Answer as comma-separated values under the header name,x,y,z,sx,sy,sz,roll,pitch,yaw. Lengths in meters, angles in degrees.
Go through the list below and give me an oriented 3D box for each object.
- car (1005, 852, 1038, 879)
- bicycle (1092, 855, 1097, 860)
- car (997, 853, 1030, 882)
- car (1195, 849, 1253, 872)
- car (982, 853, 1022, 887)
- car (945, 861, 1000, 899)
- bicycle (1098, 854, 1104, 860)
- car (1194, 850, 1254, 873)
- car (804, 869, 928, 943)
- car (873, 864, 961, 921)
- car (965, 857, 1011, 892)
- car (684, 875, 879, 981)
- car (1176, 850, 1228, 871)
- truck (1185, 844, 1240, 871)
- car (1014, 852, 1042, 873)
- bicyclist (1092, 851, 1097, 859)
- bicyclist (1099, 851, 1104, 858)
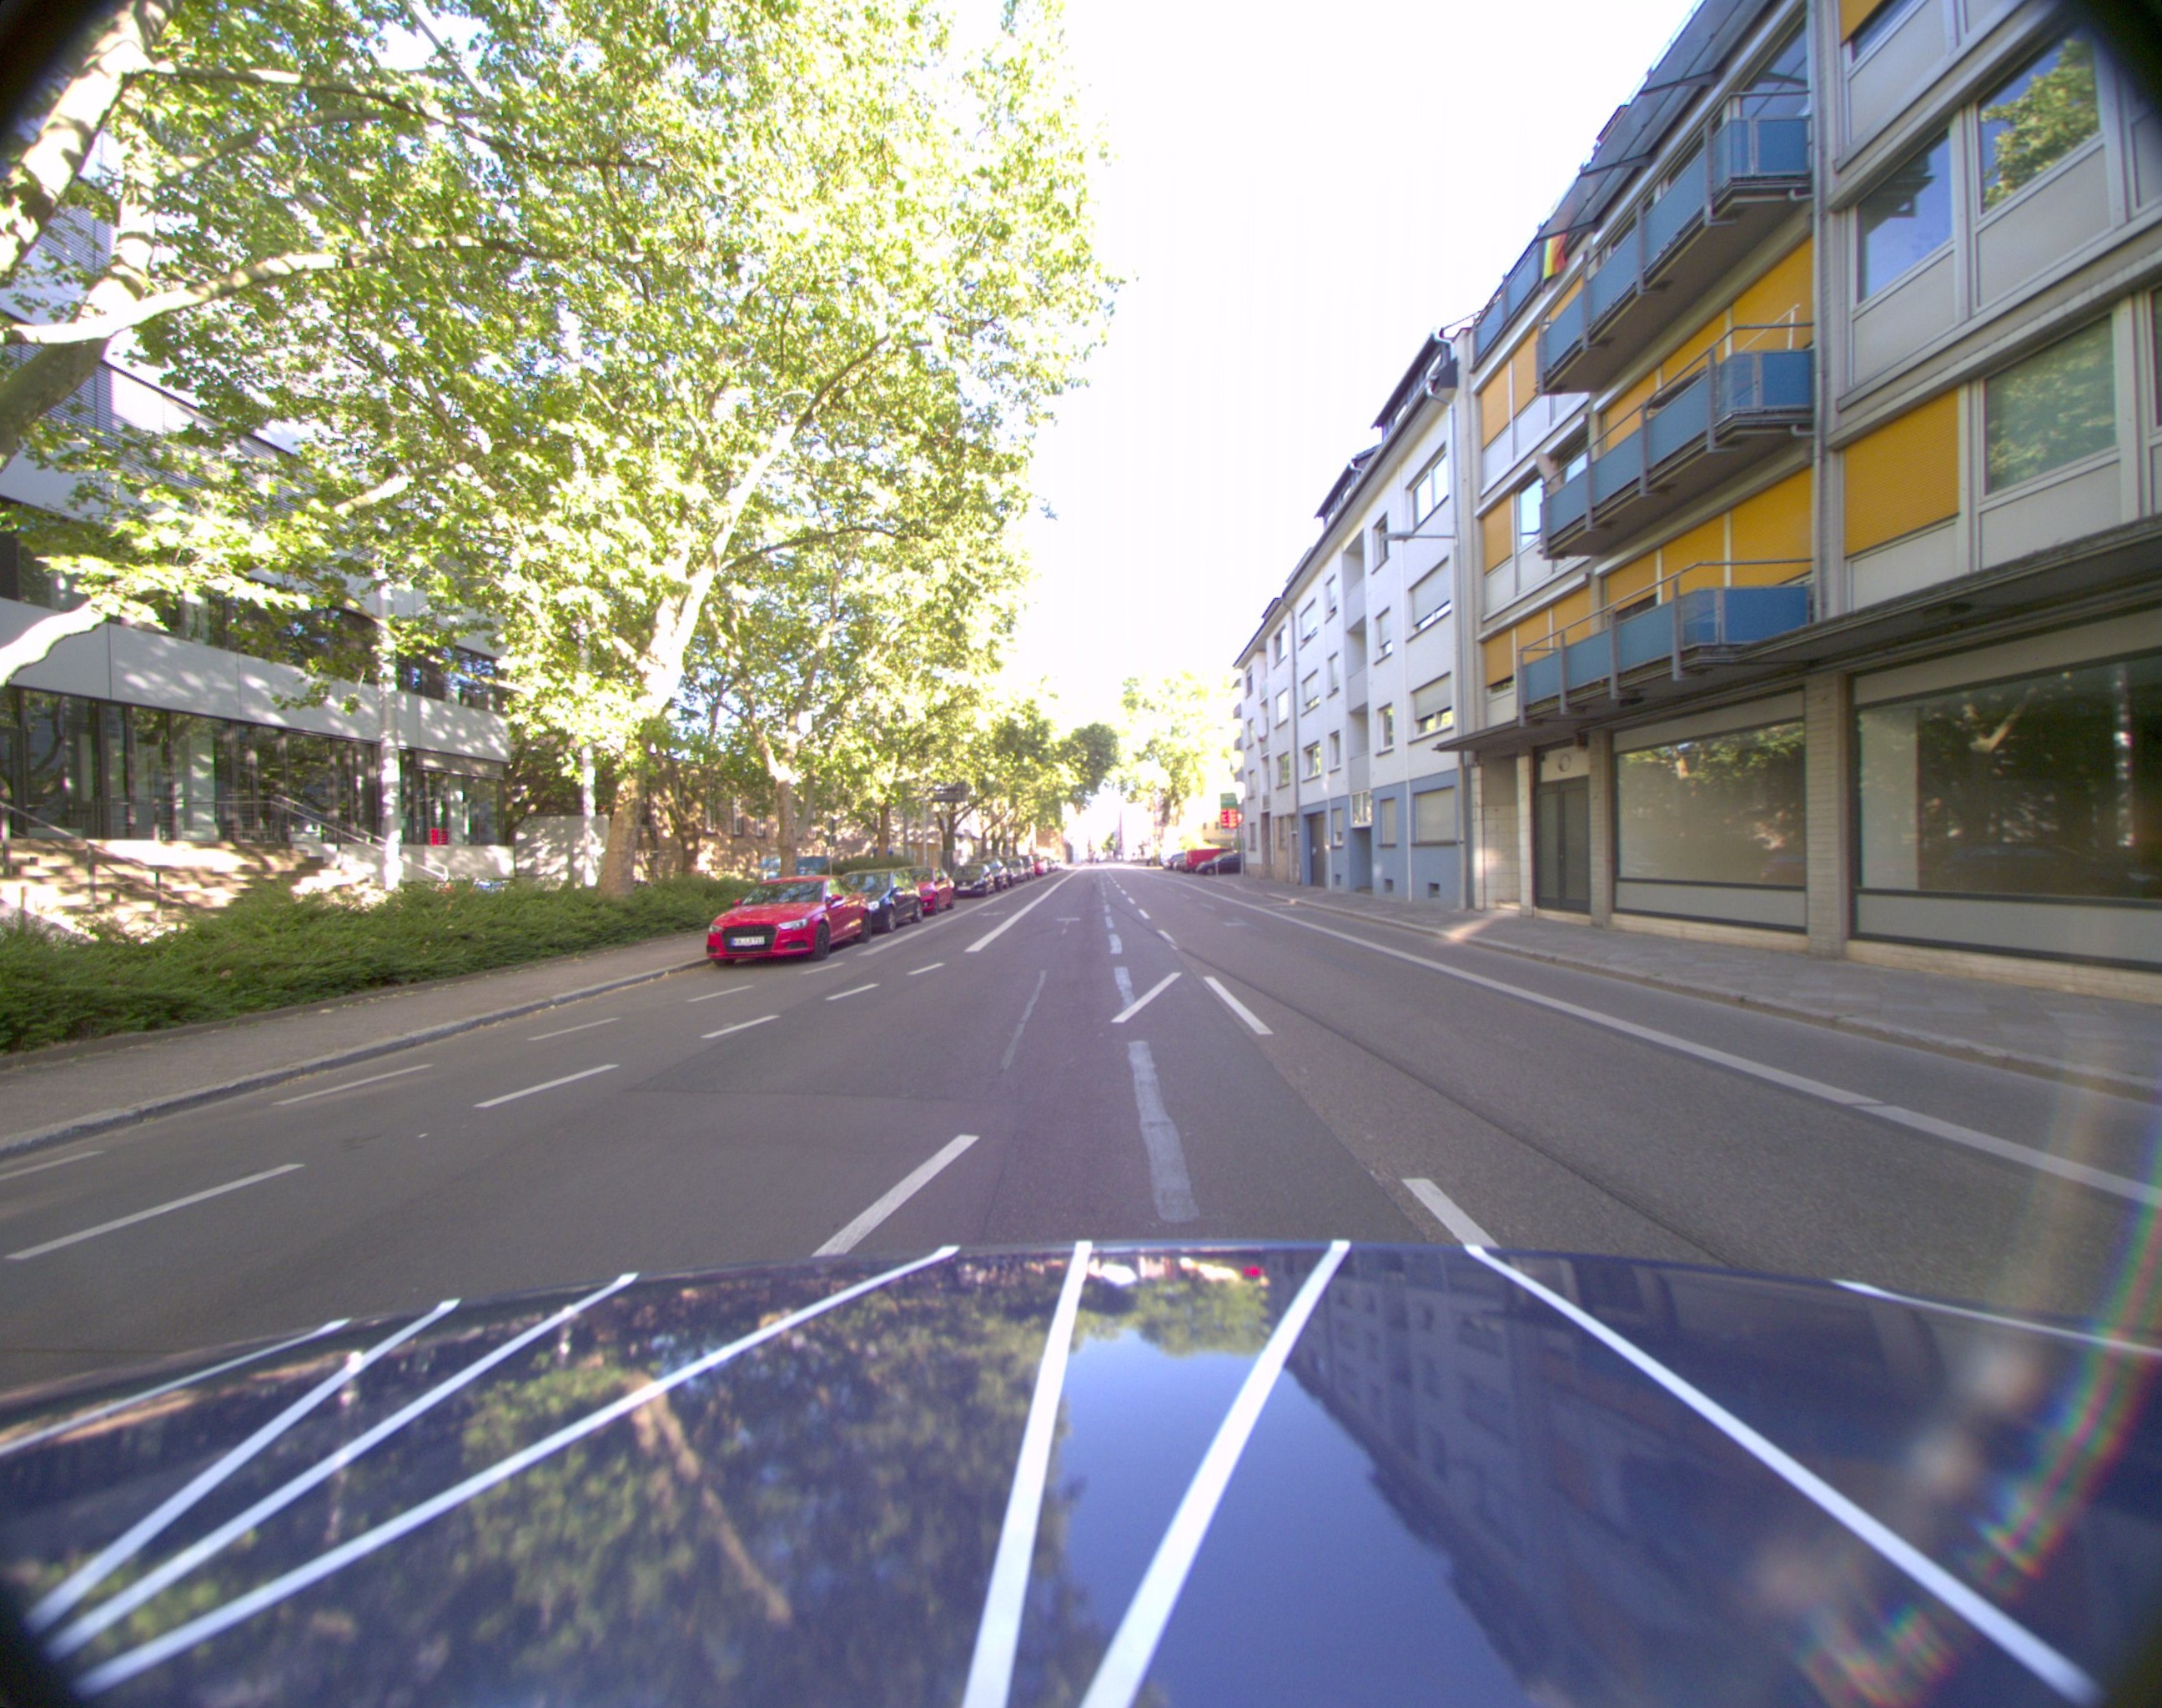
name,x,y,z,sx,sy,sz,roll,pitch,yaw
car,-4.317,0.802,55.657,2.042,1.745,4.552,-3,0,0
bicycle,2.837,0.712,160.055,0.717,1.052,2.487,-2,1,11
car,-4.446,0.858,50.699,1.790,1.745,4.552,-3,0,0
car,10.728,0.481,57.138,3.996,1.494,1.761,-2,1,2
car,-4.524,0.874,44.143,1.790,1.745,4.345,-3,0,0
car,-4.702,1.082,33.381,1.790,1.451,4.163,-3,0,0
bicycle,4.339,0.663,161.879,0.717,1.052,2.487,-2,1,15
car,10.254,0.548,54.790,3.996,1.449,1.761,-2,1,2
car,-5.082,1.174,18.571,1.818,1.405,4.163,-3,0,0
car,-5.029,1.128,23.854,1.818,1.475,4.163,-3,0,0
car,-4.601,0.983,38.127,1.790,1.544,4.163,-3,0,0
car,-5.137,1.196,13.715,1.818,1.405,4.163,-3,0,0
car,9.978,0.529,62.840,3.996,1.494,1.761,-2,1,2
truck,10.368,0.248,59.987,3.996,1.925,1.761,-2,1,2
car,-4.592,0.706,66.088,2.042,1.745,4.552,-3,0,0
bicyclist,2.809,0.263,159.915,0.717,1.573,0.936,-2,1,11
bicyclist,4.311,0.102,161.785,0.717,1.573,0.937,-2,1,15
